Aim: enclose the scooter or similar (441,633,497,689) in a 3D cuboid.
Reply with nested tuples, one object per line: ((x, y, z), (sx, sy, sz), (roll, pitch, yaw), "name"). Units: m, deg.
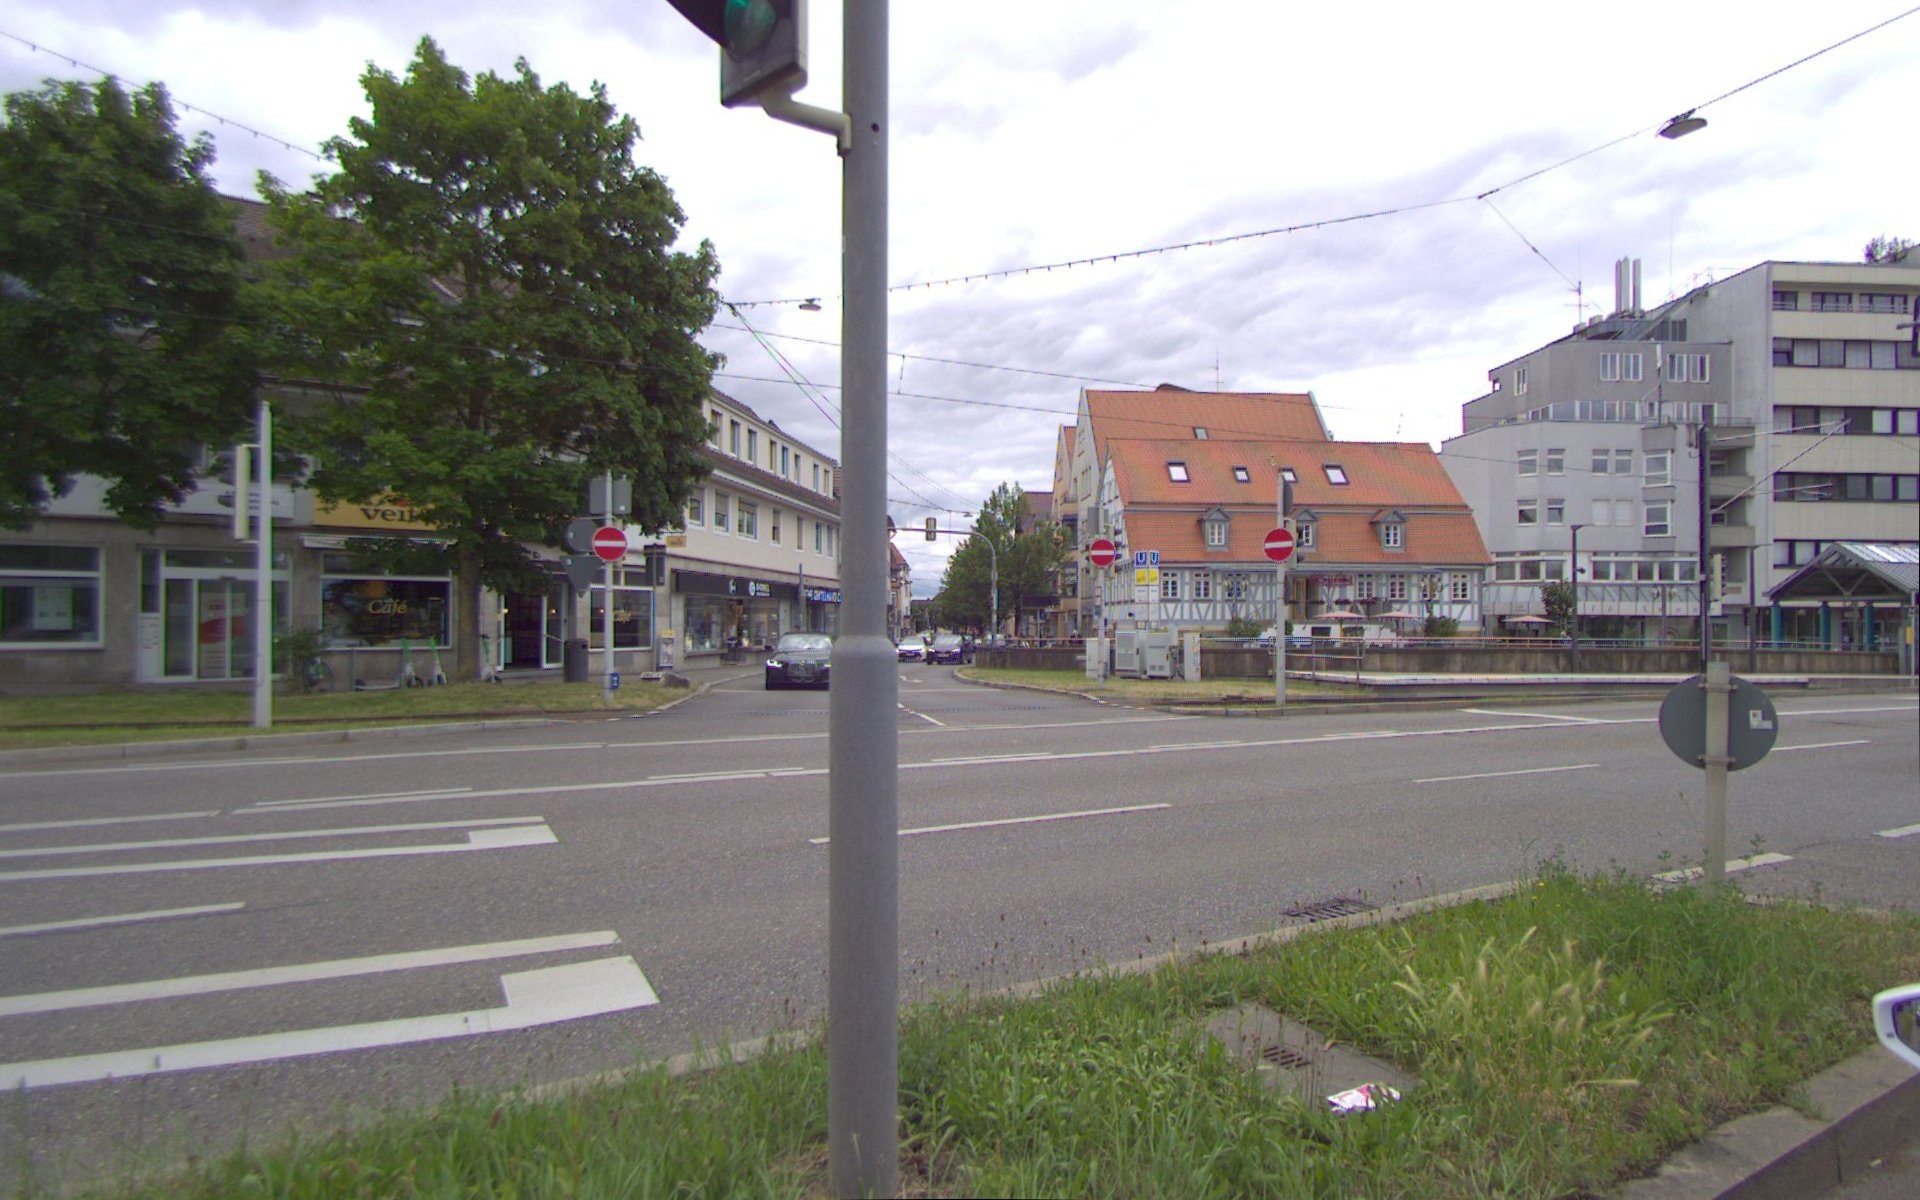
((-9.948, 1.234, 20.378), (0.978, 1.100, 0.422), (1, -1, -24), "scooter or similar")

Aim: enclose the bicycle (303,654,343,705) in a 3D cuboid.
((-11.028, 1.359, 17.405), (0.419, 0.815, 1.254), (1, -1, -26), "bicycle")

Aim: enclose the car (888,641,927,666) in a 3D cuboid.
((-2.933, 3.026, 57.167), (1.947, 1.312, 3.912), (1, -1, 1), "car")

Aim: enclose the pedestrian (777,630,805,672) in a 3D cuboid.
((-6.979, 2.109, 41.540), (0.858, 1.692, 0.859), (0, -1, 10), "pedestrian")

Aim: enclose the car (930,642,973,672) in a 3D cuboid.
((-0.383, 2.675, 47.695), (1.948, 1.312, 3.911), (1, -1, 0), "car")

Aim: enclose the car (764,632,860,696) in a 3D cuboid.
((-3.614, 1.535, 25.234), (1.791, 1.399, 4.683), (1, -2, -1), "car")

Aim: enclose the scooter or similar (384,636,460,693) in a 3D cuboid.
((-10.138, 1.209, 18.951), (1.157, 1.059, 0.490), (1, -1, -16), "scooter or similar")

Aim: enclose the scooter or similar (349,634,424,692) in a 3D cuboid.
((-11.209, 1.224, 19.663), (1.158, 1.100, 0.601), (1, -1, -20), "scooter or similar")
